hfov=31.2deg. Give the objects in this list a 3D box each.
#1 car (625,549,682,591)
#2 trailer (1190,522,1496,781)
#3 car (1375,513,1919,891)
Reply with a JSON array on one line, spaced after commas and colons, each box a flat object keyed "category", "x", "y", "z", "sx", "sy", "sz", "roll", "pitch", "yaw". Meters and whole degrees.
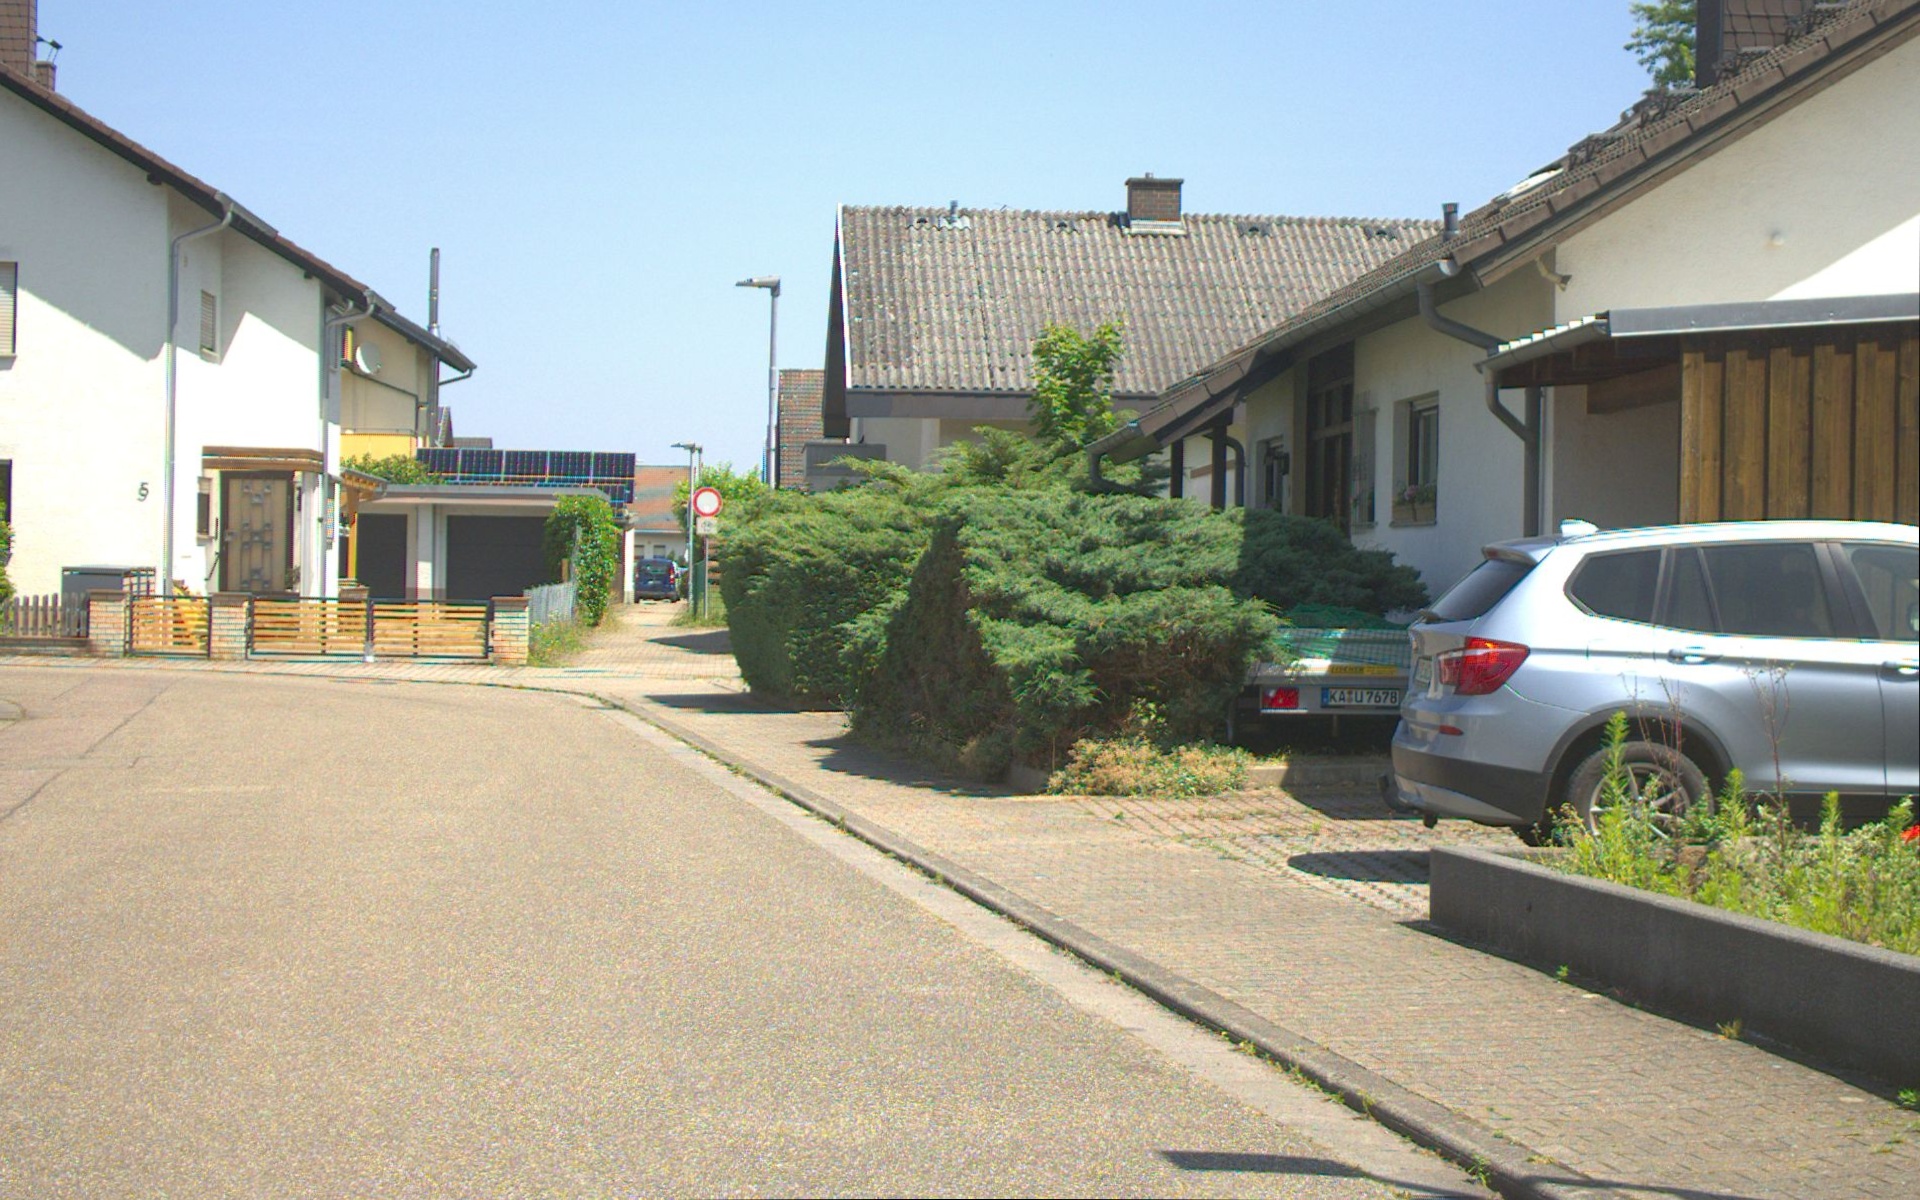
[{"category": "car", "x": -12.583, "y": -1.234, "z": 141.445, "sx": 2.193, "sy": 1.696, "sz": 3.808, "roll": 1, "pitch": 1, "yaw": -3}, {"category": "trailer", "x": 2.602, "y": 0.299, "z": 23.998, "sx": 1.587, "sy": 1.666, "sz": 3.297, "roll": -1, "pitch": 1, "yaw": -3}, {"category": "car", "x": 4.419, "y": 0.443, "z": 16.495, "sx": 4.627, "sy": 1.696, "sz": 1.710, "roll": -1, "pitch": 1, "yaw": -1}]
